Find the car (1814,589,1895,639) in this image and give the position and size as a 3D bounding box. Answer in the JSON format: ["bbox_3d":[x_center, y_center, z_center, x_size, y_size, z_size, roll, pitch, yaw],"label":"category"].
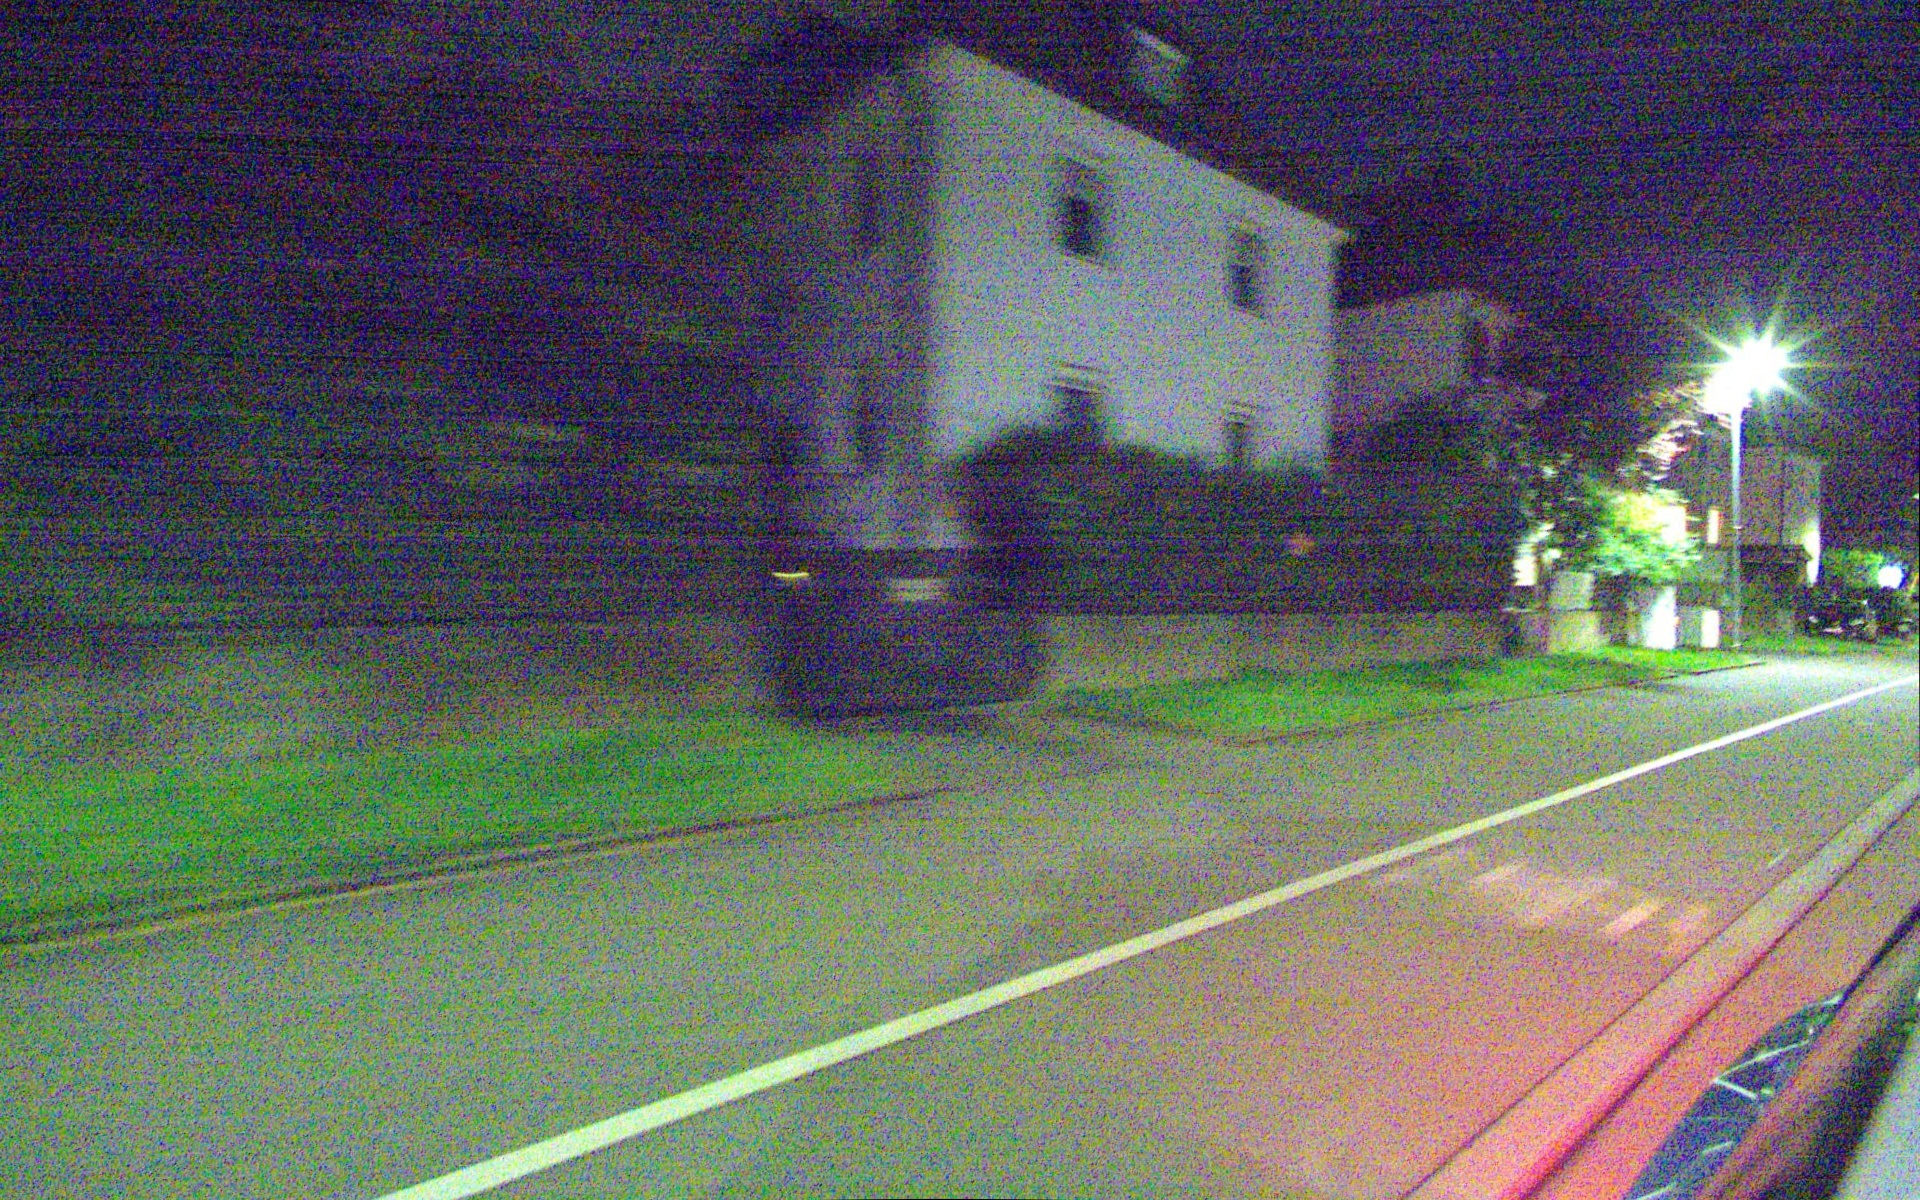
[{"bbox_3d":[31.141,0.460,35.212,3.614,1.579,1.642,0,2,-41],"label":"car"}]

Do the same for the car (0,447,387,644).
[{"bbox_3d":[-9.580,-0.577,12.125,4.427,2.039,1.997,0,1,-41],"label":"car"}]

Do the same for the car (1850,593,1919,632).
[{"bbox_3d":[41.362,0.573,43.868,1.800,1.504,3.914,1,3,-40],"label":"car"}]
